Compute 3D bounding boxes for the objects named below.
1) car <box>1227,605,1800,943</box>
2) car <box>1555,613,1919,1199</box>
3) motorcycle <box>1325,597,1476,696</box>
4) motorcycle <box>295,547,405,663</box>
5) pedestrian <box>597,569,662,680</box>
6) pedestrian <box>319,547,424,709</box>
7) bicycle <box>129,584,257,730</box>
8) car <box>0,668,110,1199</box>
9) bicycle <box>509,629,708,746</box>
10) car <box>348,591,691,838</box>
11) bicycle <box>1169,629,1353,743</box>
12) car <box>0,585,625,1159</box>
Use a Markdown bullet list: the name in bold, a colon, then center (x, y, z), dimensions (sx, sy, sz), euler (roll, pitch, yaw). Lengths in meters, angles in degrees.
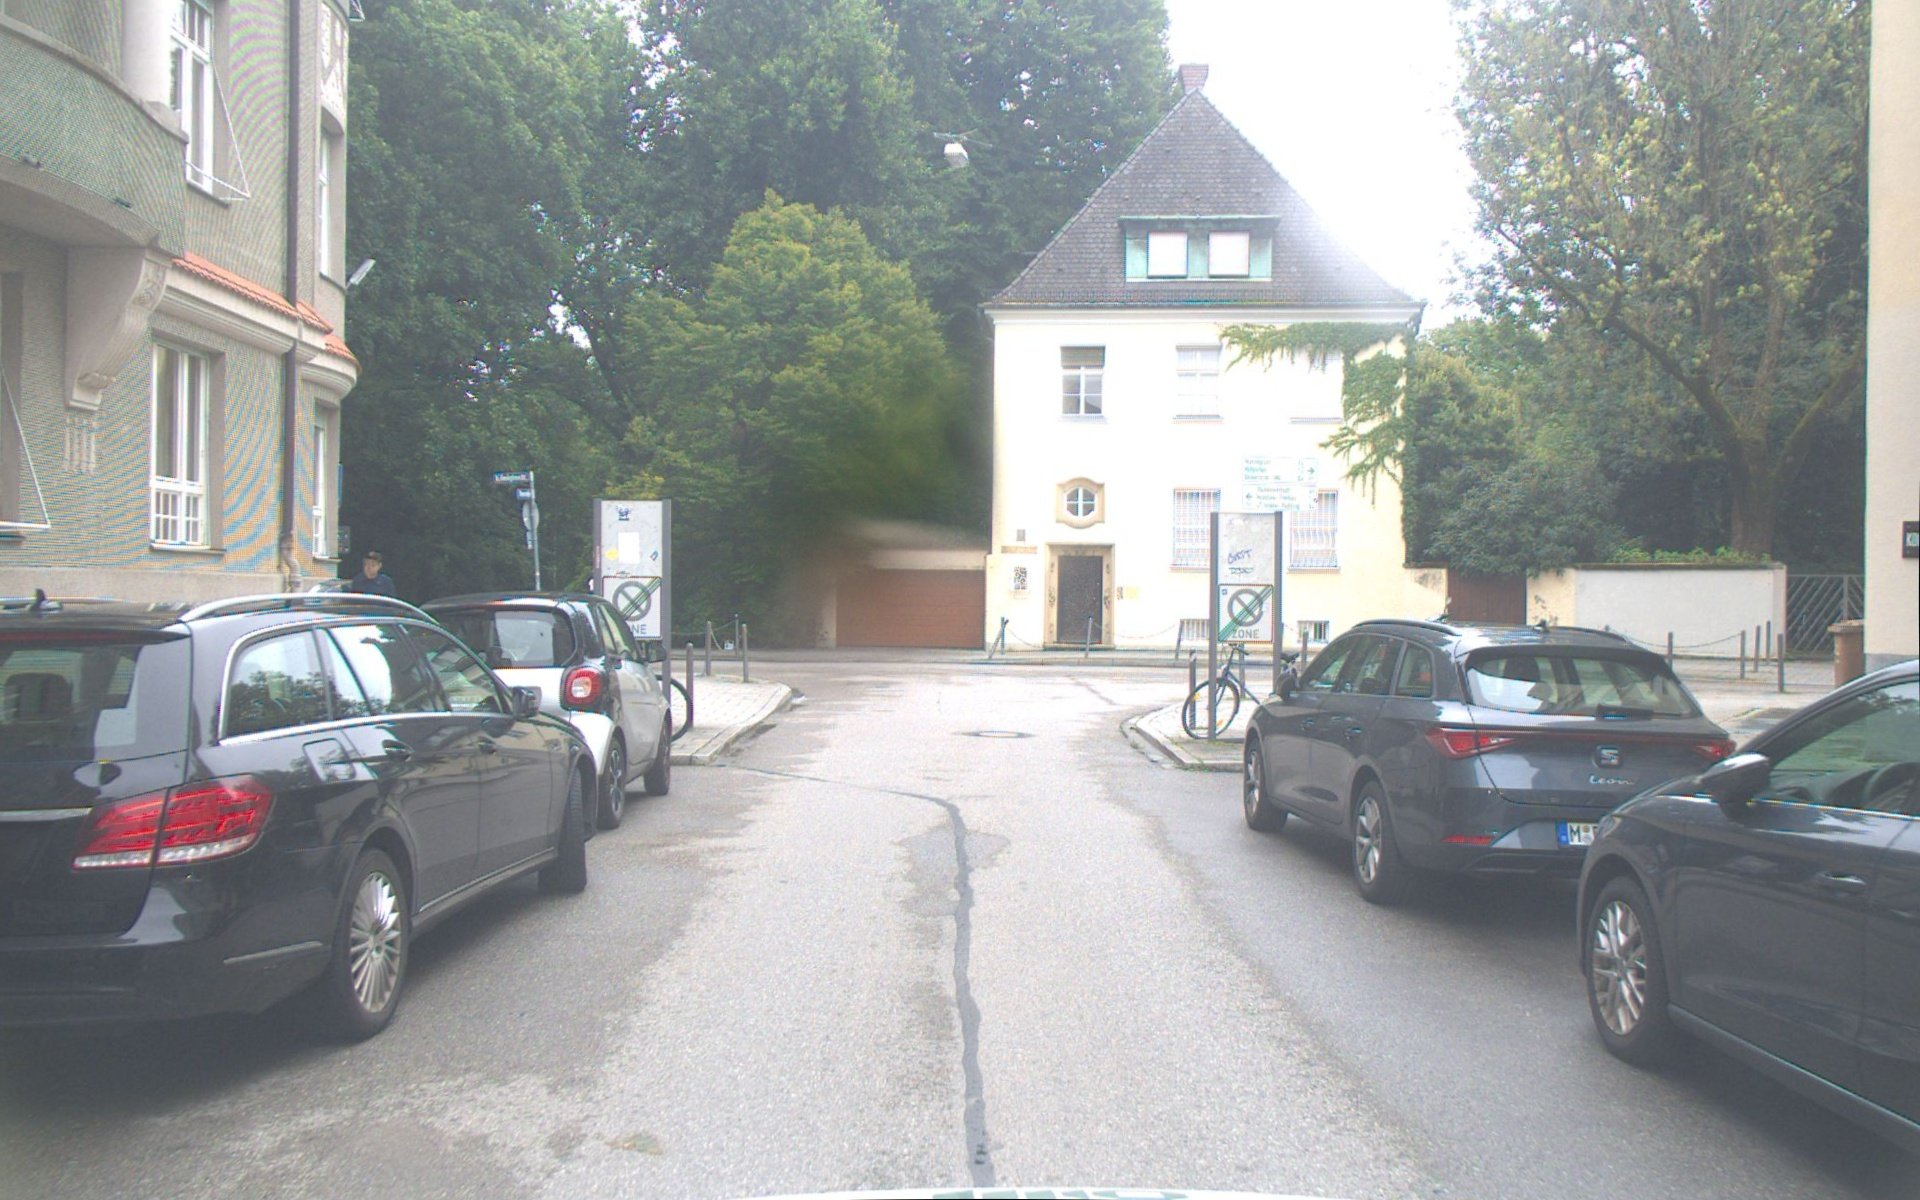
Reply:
- **car**: center (2.909, 0.808, 9.856), dimensions (1.659, 1.497, 4.608), euler (1, 0, -3)
- **car**: center (3.107, 0.818, 4.314), dimensions (1.601, 1.497, 3.854), euler (1, 0, -2)
- **motorcycle**: center (6.362, 0.666, 23.865), dimensions (2.051, 1.379, 0.811), euler (1, 0, -25)
- **motorcycle**: center (-8.161, 0.066, 22.231), dimensions (0.721, 1.466, 2.146), euler (1, 0, -2)
- **pedestrian**: center (-5.071, 0.368, 25.379), dimensions (0.800, 1.670, 0.720), euler (1, 0, -25)
- **pedestrian**: center (-6.792, 0.316, 19.121), dimensions (0.821, 1.818, 0.936), euler (1, 0, 2)
- **bicycle**: center (-7.631, 0.543, 16.532), dimensions (0.606, 1.373, 1.673), euler (1, 0, -5)
- **car**: center (-2.682, 0.825, 1.477), dimensions (1.719, 1.354, 4.096), euler (0, 0, 0)
- **bicycle**: center (-3.361, 0.834, 15.881), dimensions (1.766, 1.032, 0.540), euler (2, 0, -2)
- **car**: center (-3.004, 0.714, 11.858), dimensions (1.669, 1.541, 2.911), euler (0, 0, 0)
- **bicycle**: center (3.117, 0.871, 17.165), dimensions (1.756, 1.104, 0.665), euler (0, 1, 26)
- **car**: center (-2.762, 0.721, 6.827), dimensions (1.719, 1.541, 4.708), euler (0, 0, 1)
